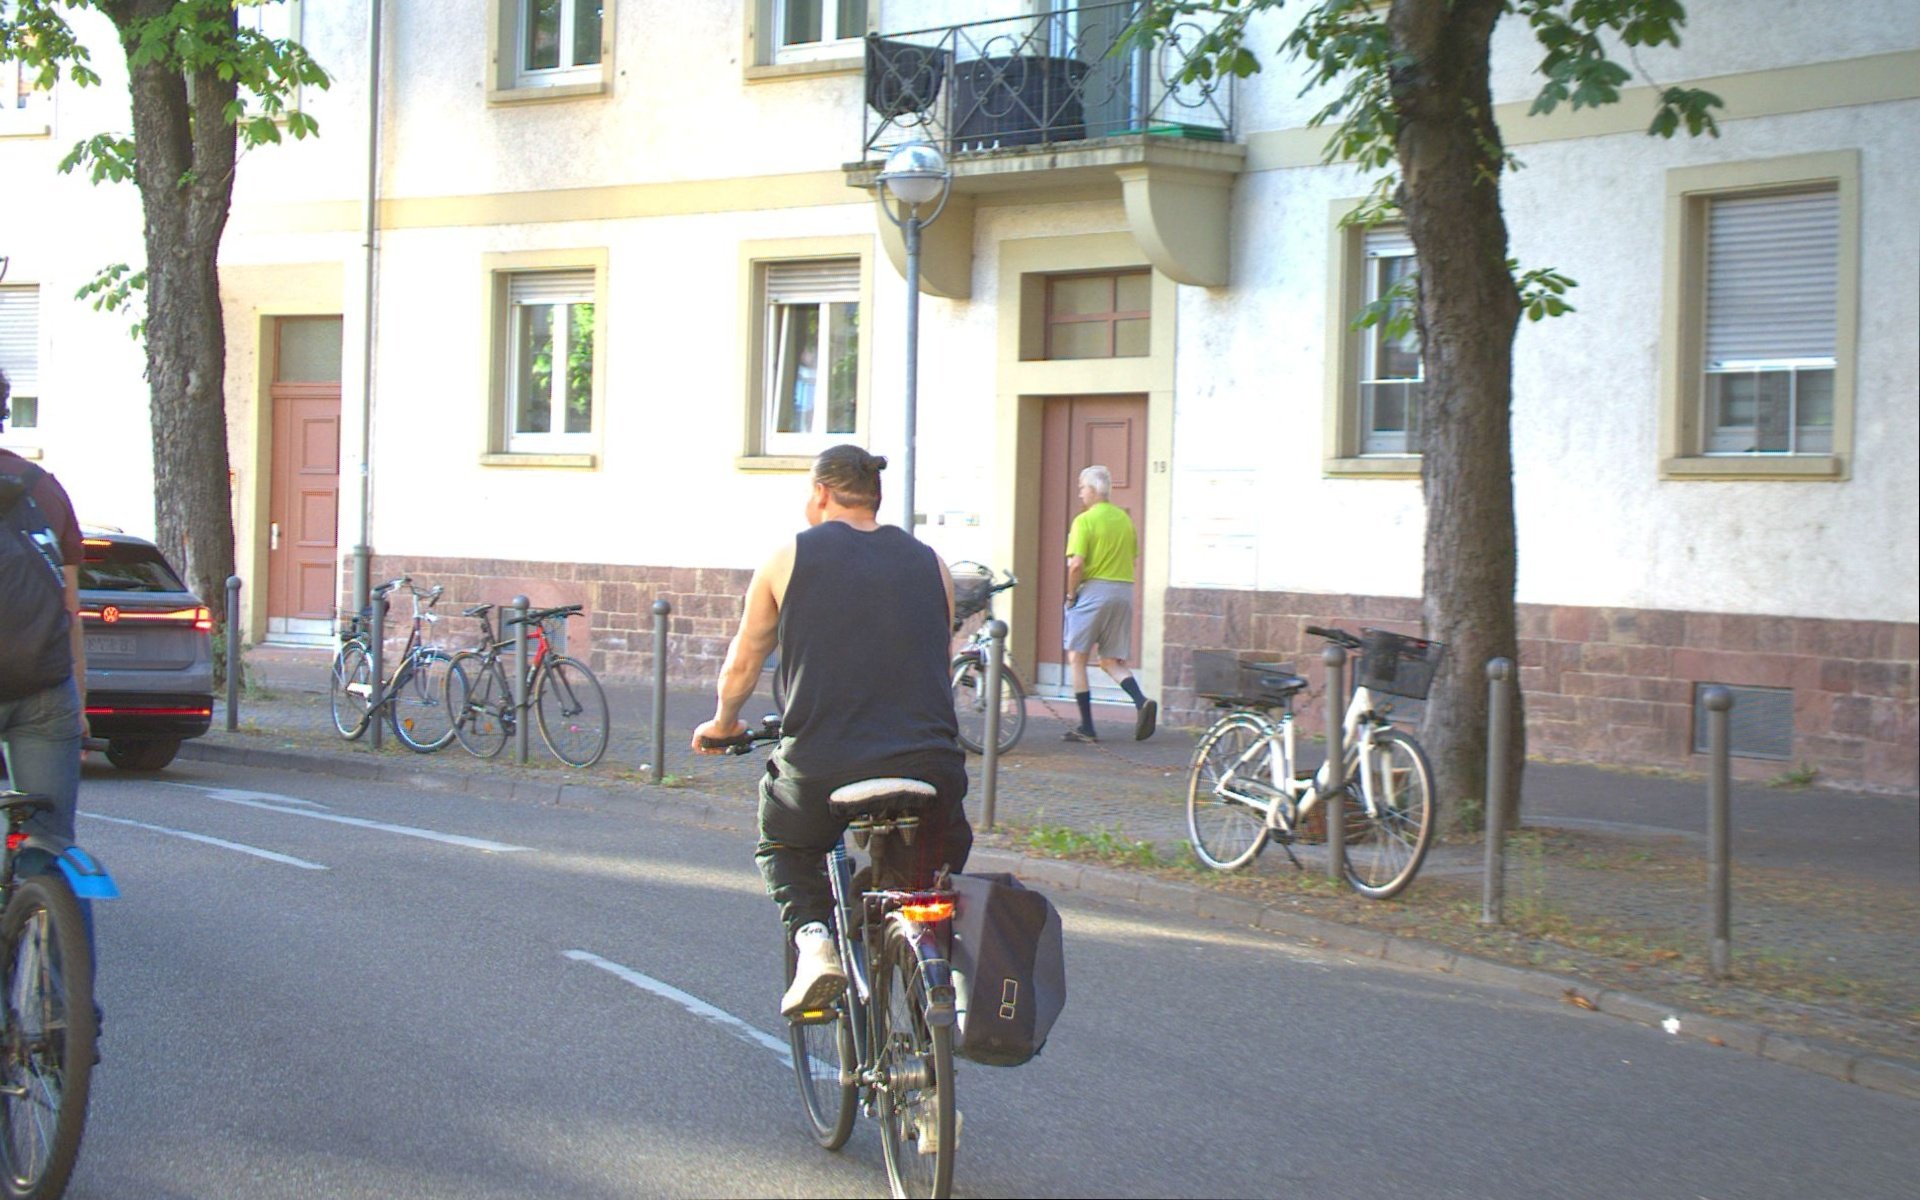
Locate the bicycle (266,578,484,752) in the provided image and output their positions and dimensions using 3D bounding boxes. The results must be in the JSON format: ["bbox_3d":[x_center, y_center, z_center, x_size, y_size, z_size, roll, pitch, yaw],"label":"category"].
[{"bbox_3d":[-3.765,0.392,21.995,0.520,0.995,2.191,1,1,-33],"label":"bicycle"}]

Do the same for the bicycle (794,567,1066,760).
[{"bbox_3d":[-0.219,0.377,21.924,0.582,1.110,2.117,0,2,-37],"label":"bicycle"}]

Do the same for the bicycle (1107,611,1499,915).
[{"bbox_3d":[1.430,0.654,14.718,0.616,1.109,1.992,-3,3,-30],"label":"bicycle"}]

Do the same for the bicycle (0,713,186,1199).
[{"bbox_3d":[-2.358,0.833,8.088,0.674,1.050,2.062,1,0,-23],"label":"bicycle"}]

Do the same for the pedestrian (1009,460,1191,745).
[{"bbox_3d":[0.909,-0.004,22.221,0.659,1.788,0.995,3,3,44],"label":"pedestrian"}]

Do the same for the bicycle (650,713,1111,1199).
[{"bbox_3d":[-0.250,0.840,8.027,0.737,1.008,2.062,1,2,-10],"label":"bicycle"}]

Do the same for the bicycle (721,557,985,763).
[{"bbox_3d":[-0.695,0.349,21.566,0.494,1.168,2.117,-4,4,-37],"label":"bicycle"}]

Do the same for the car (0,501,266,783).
[{"bbox_3d":[-6.183,0.170,21.202,1.892,1.572,3.998,1,2,-43],"label":"car"}]

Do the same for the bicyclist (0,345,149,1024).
[{"bbox_3d":[-2.359,0.178,8.113,0.671,1.509,1.069,0,1,-23],"label":"bicyclist"}]

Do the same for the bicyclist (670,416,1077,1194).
[{"bbox_3d":[-0.223,0.439,7.911,0.752,1.676,0.913,1,1,-11],"label":"bicyclist"}]

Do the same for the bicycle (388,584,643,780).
[{"bbox_3d":[-2.710,0.472,20.792,0.616,1.054,1.928,-1,3,-39],"label":"bicycle"}]
